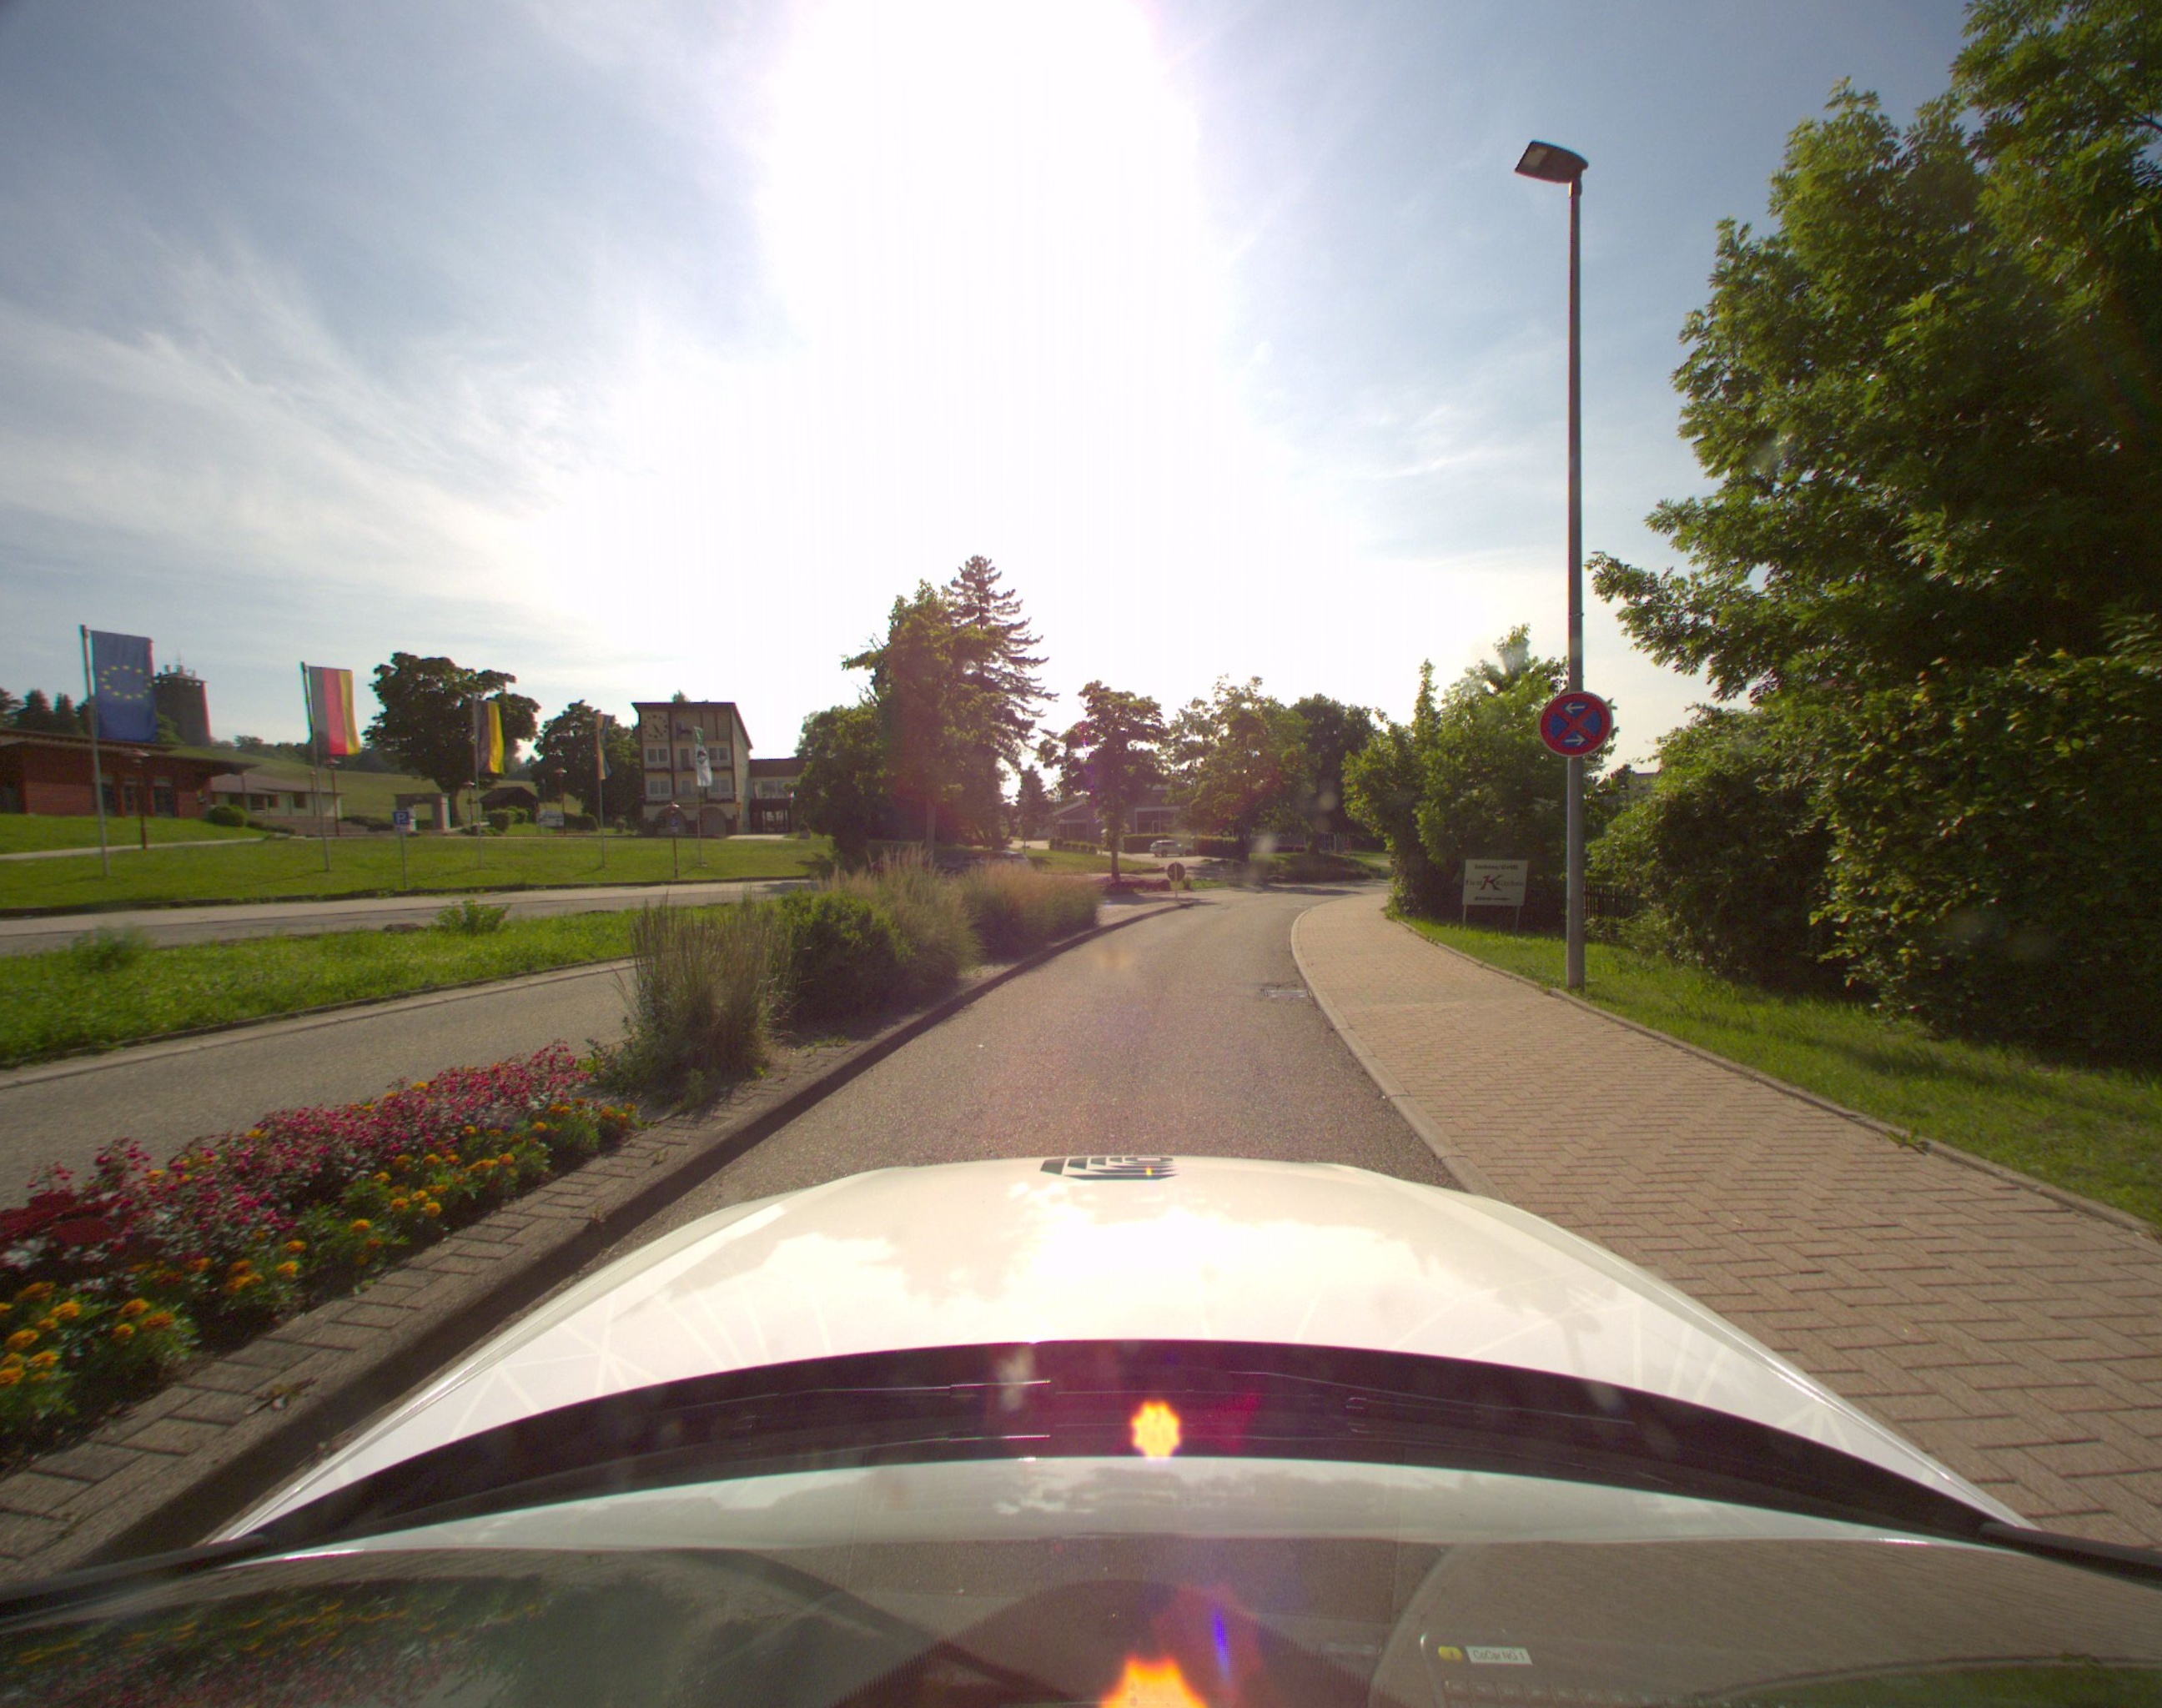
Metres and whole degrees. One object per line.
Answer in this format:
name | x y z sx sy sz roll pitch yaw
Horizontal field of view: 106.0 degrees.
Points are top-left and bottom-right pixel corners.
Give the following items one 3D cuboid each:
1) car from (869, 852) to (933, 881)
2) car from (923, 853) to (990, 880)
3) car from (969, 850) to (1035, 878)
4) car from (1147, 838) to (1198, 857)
car | -9.984 0.661 45.060 3.167 1.470 1.787 2 1 36
car | -7.245 0.709 47.379 3.666 1.433 1.787 2 1 37
car | -4.960 0.617 50.747 3.891 1.609 1.787 2 1 37
car | 9.068 -0.676 80.730 4.731 1.533 1.988 -2 5 -20
